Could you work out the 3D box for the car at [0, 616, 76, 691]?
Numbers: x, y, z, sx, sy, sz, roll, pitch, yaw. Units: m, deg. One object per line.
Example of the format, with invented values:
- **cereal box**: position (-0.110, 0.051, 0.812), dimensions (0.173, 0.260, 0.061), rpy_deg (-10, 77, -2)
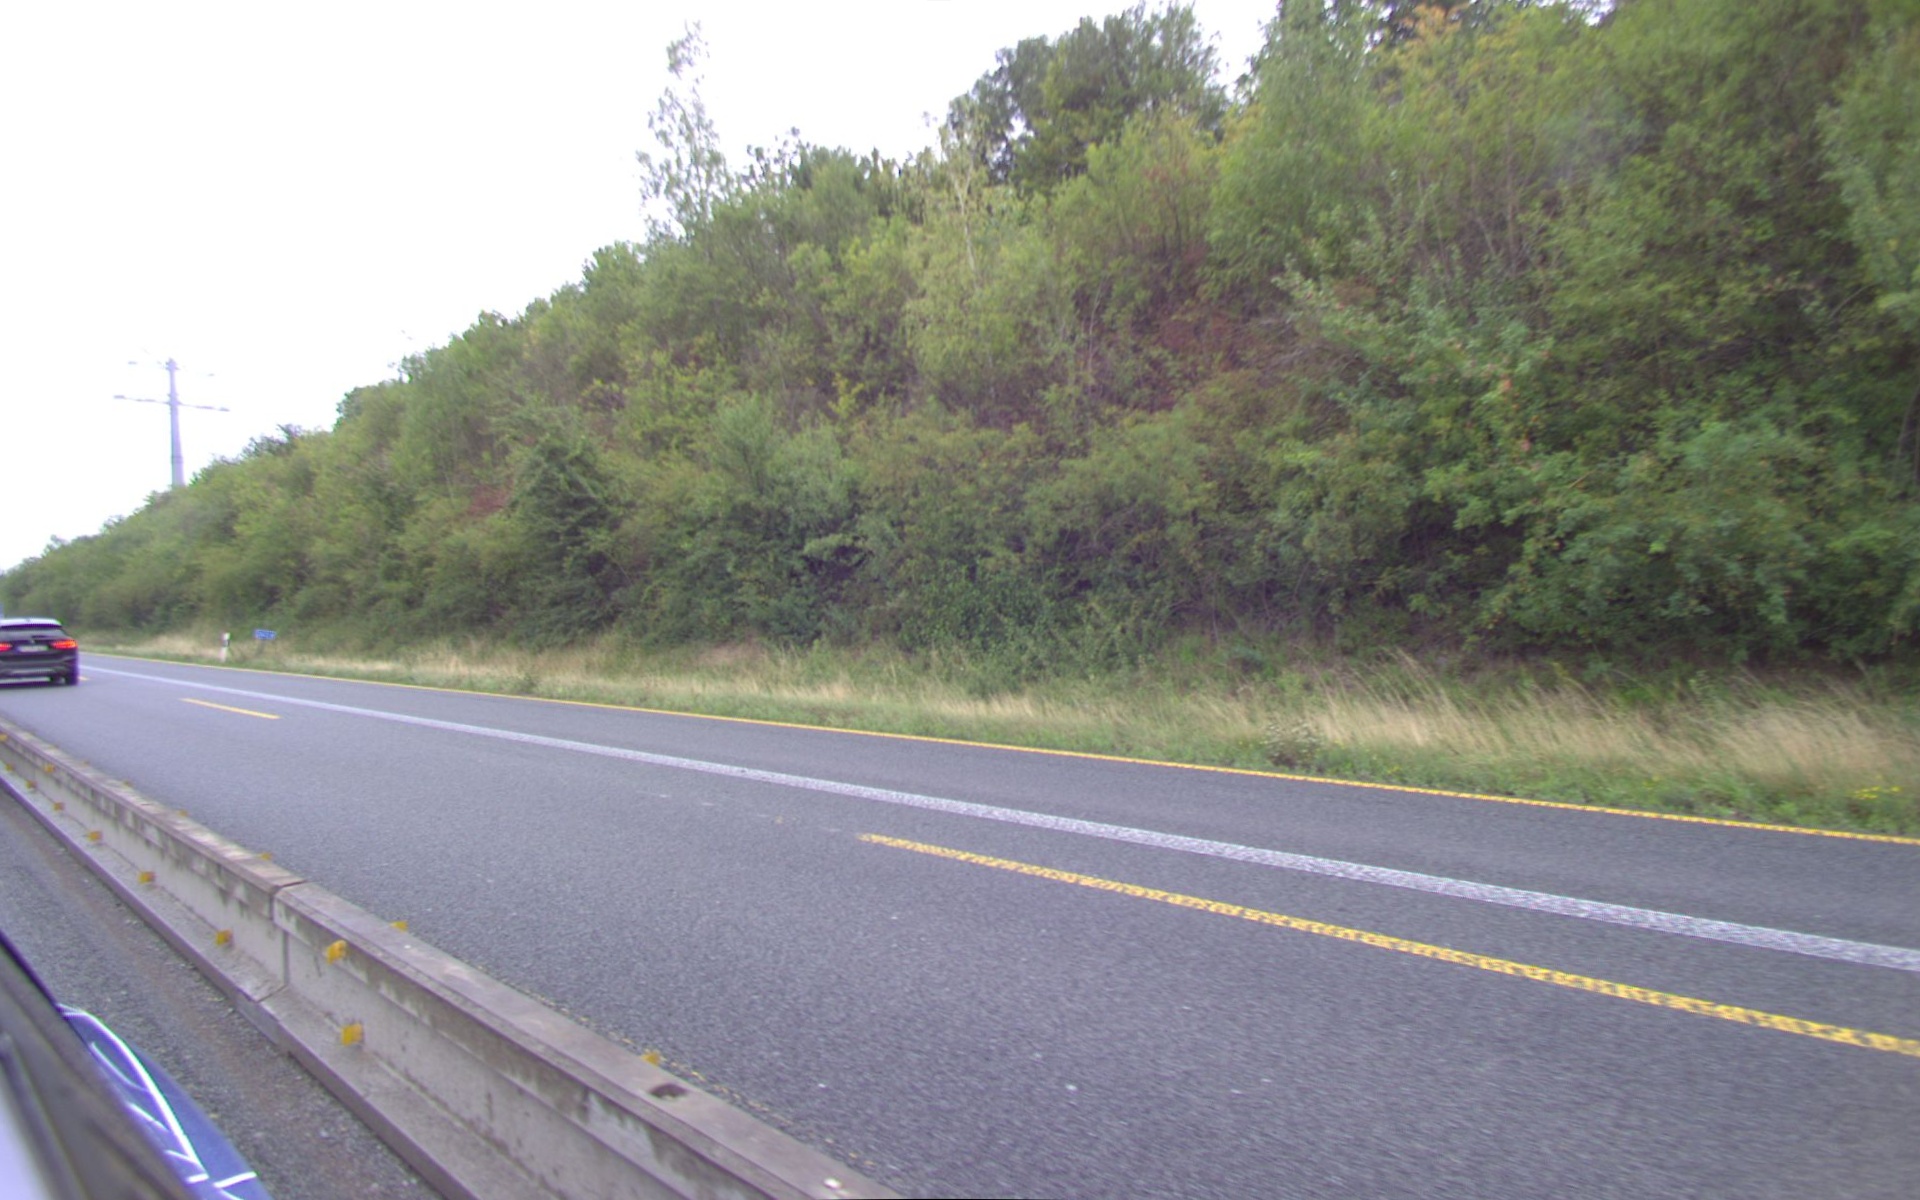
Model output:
- **car**: position (-22.711, 1.232, 24.340), dimensions (4.118, 1.645, 1.790), rpy_deg (-1, 0, 43)
